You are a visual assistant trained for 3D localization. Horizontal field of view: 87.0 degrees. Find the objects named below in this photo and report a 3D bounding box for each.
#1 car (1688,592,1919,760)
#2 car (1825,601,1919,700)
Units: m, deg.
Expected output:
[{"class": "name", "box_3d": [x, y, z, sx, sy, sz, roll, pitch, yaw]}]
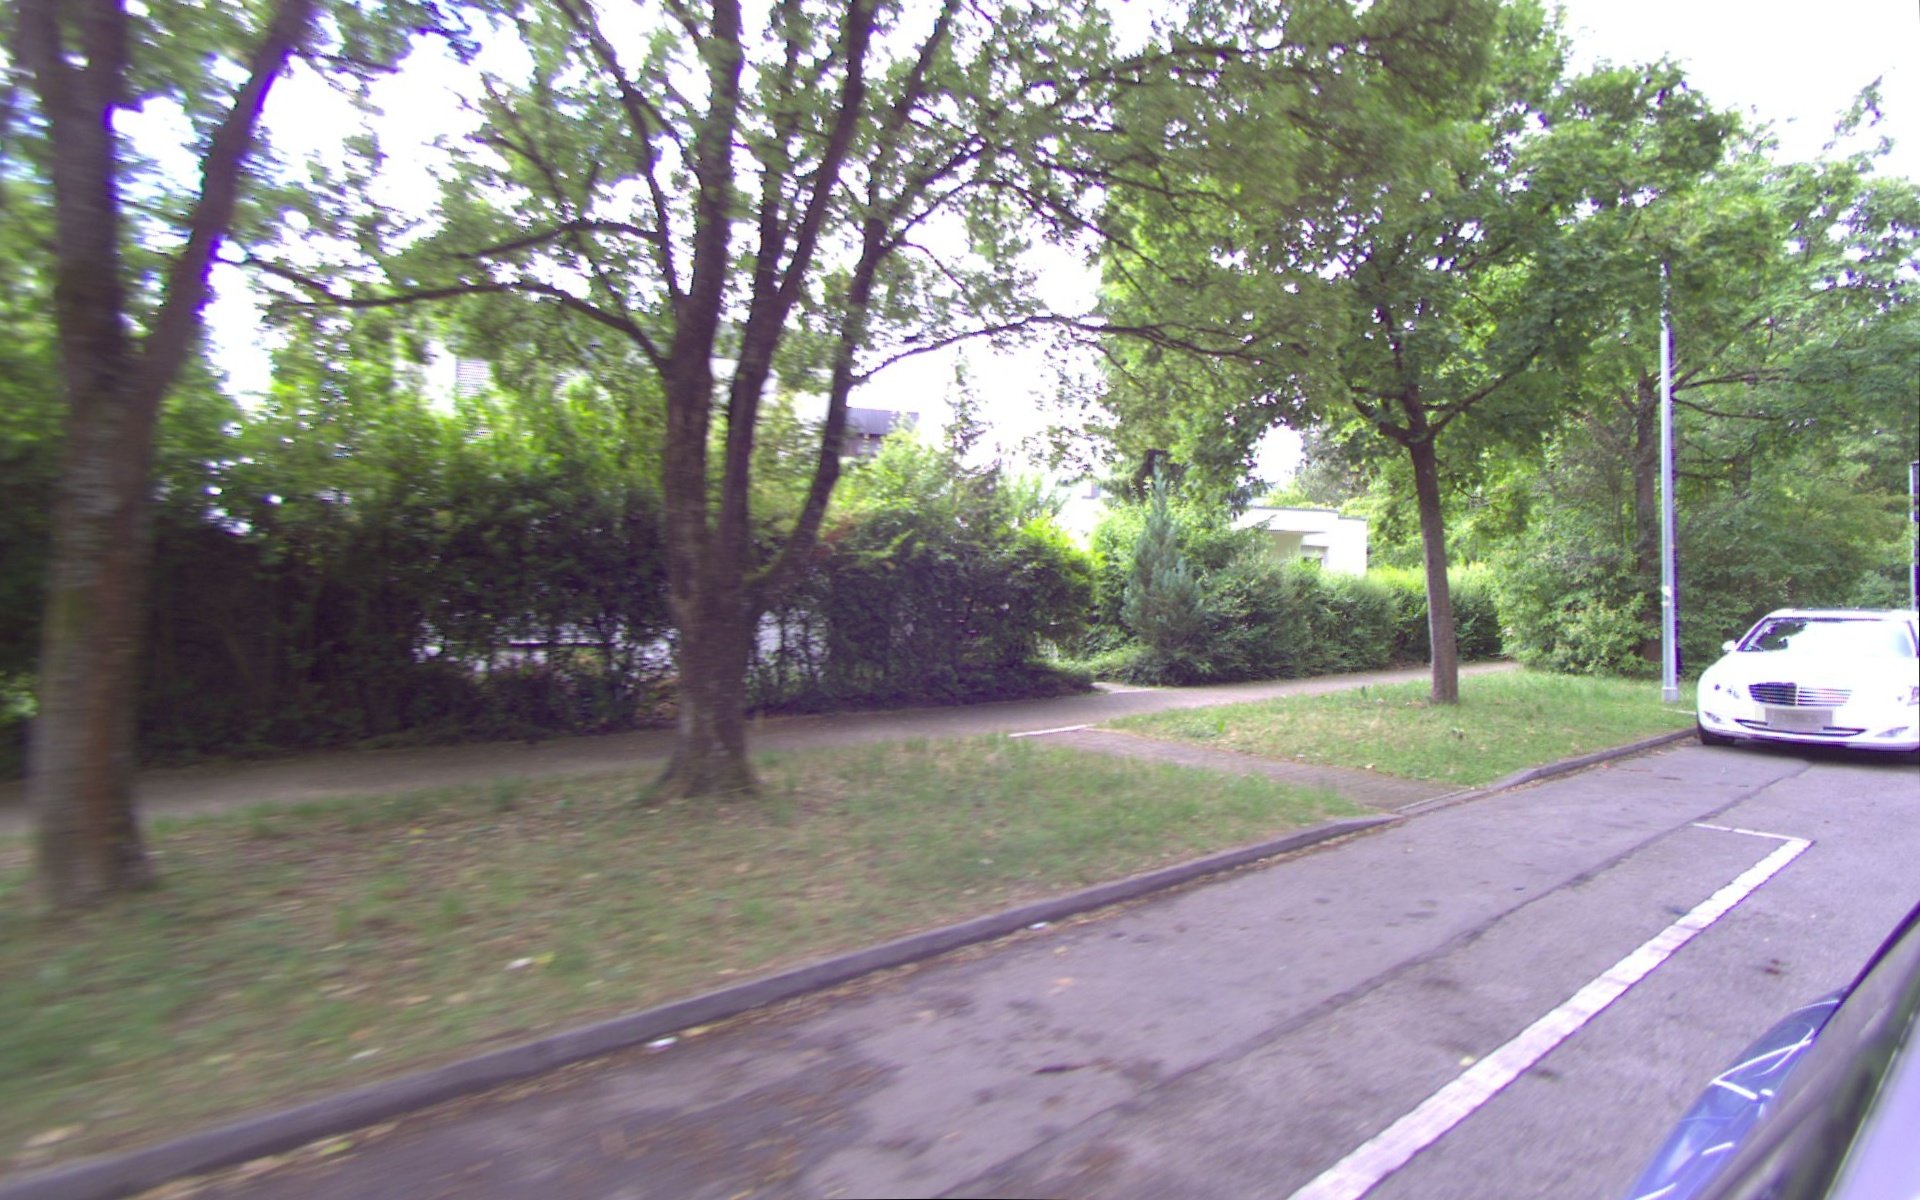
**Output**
[{"class": "car", "box_3d": [10.063, 0.689, 11.454, 5.086, 1.526, 1.889, 0, 0, -41]}, {"class": "car", "box_3d": [15.487, 0.748, 16.256, 3.987, 1.428, 1.796, 0, 0, -40]}]
